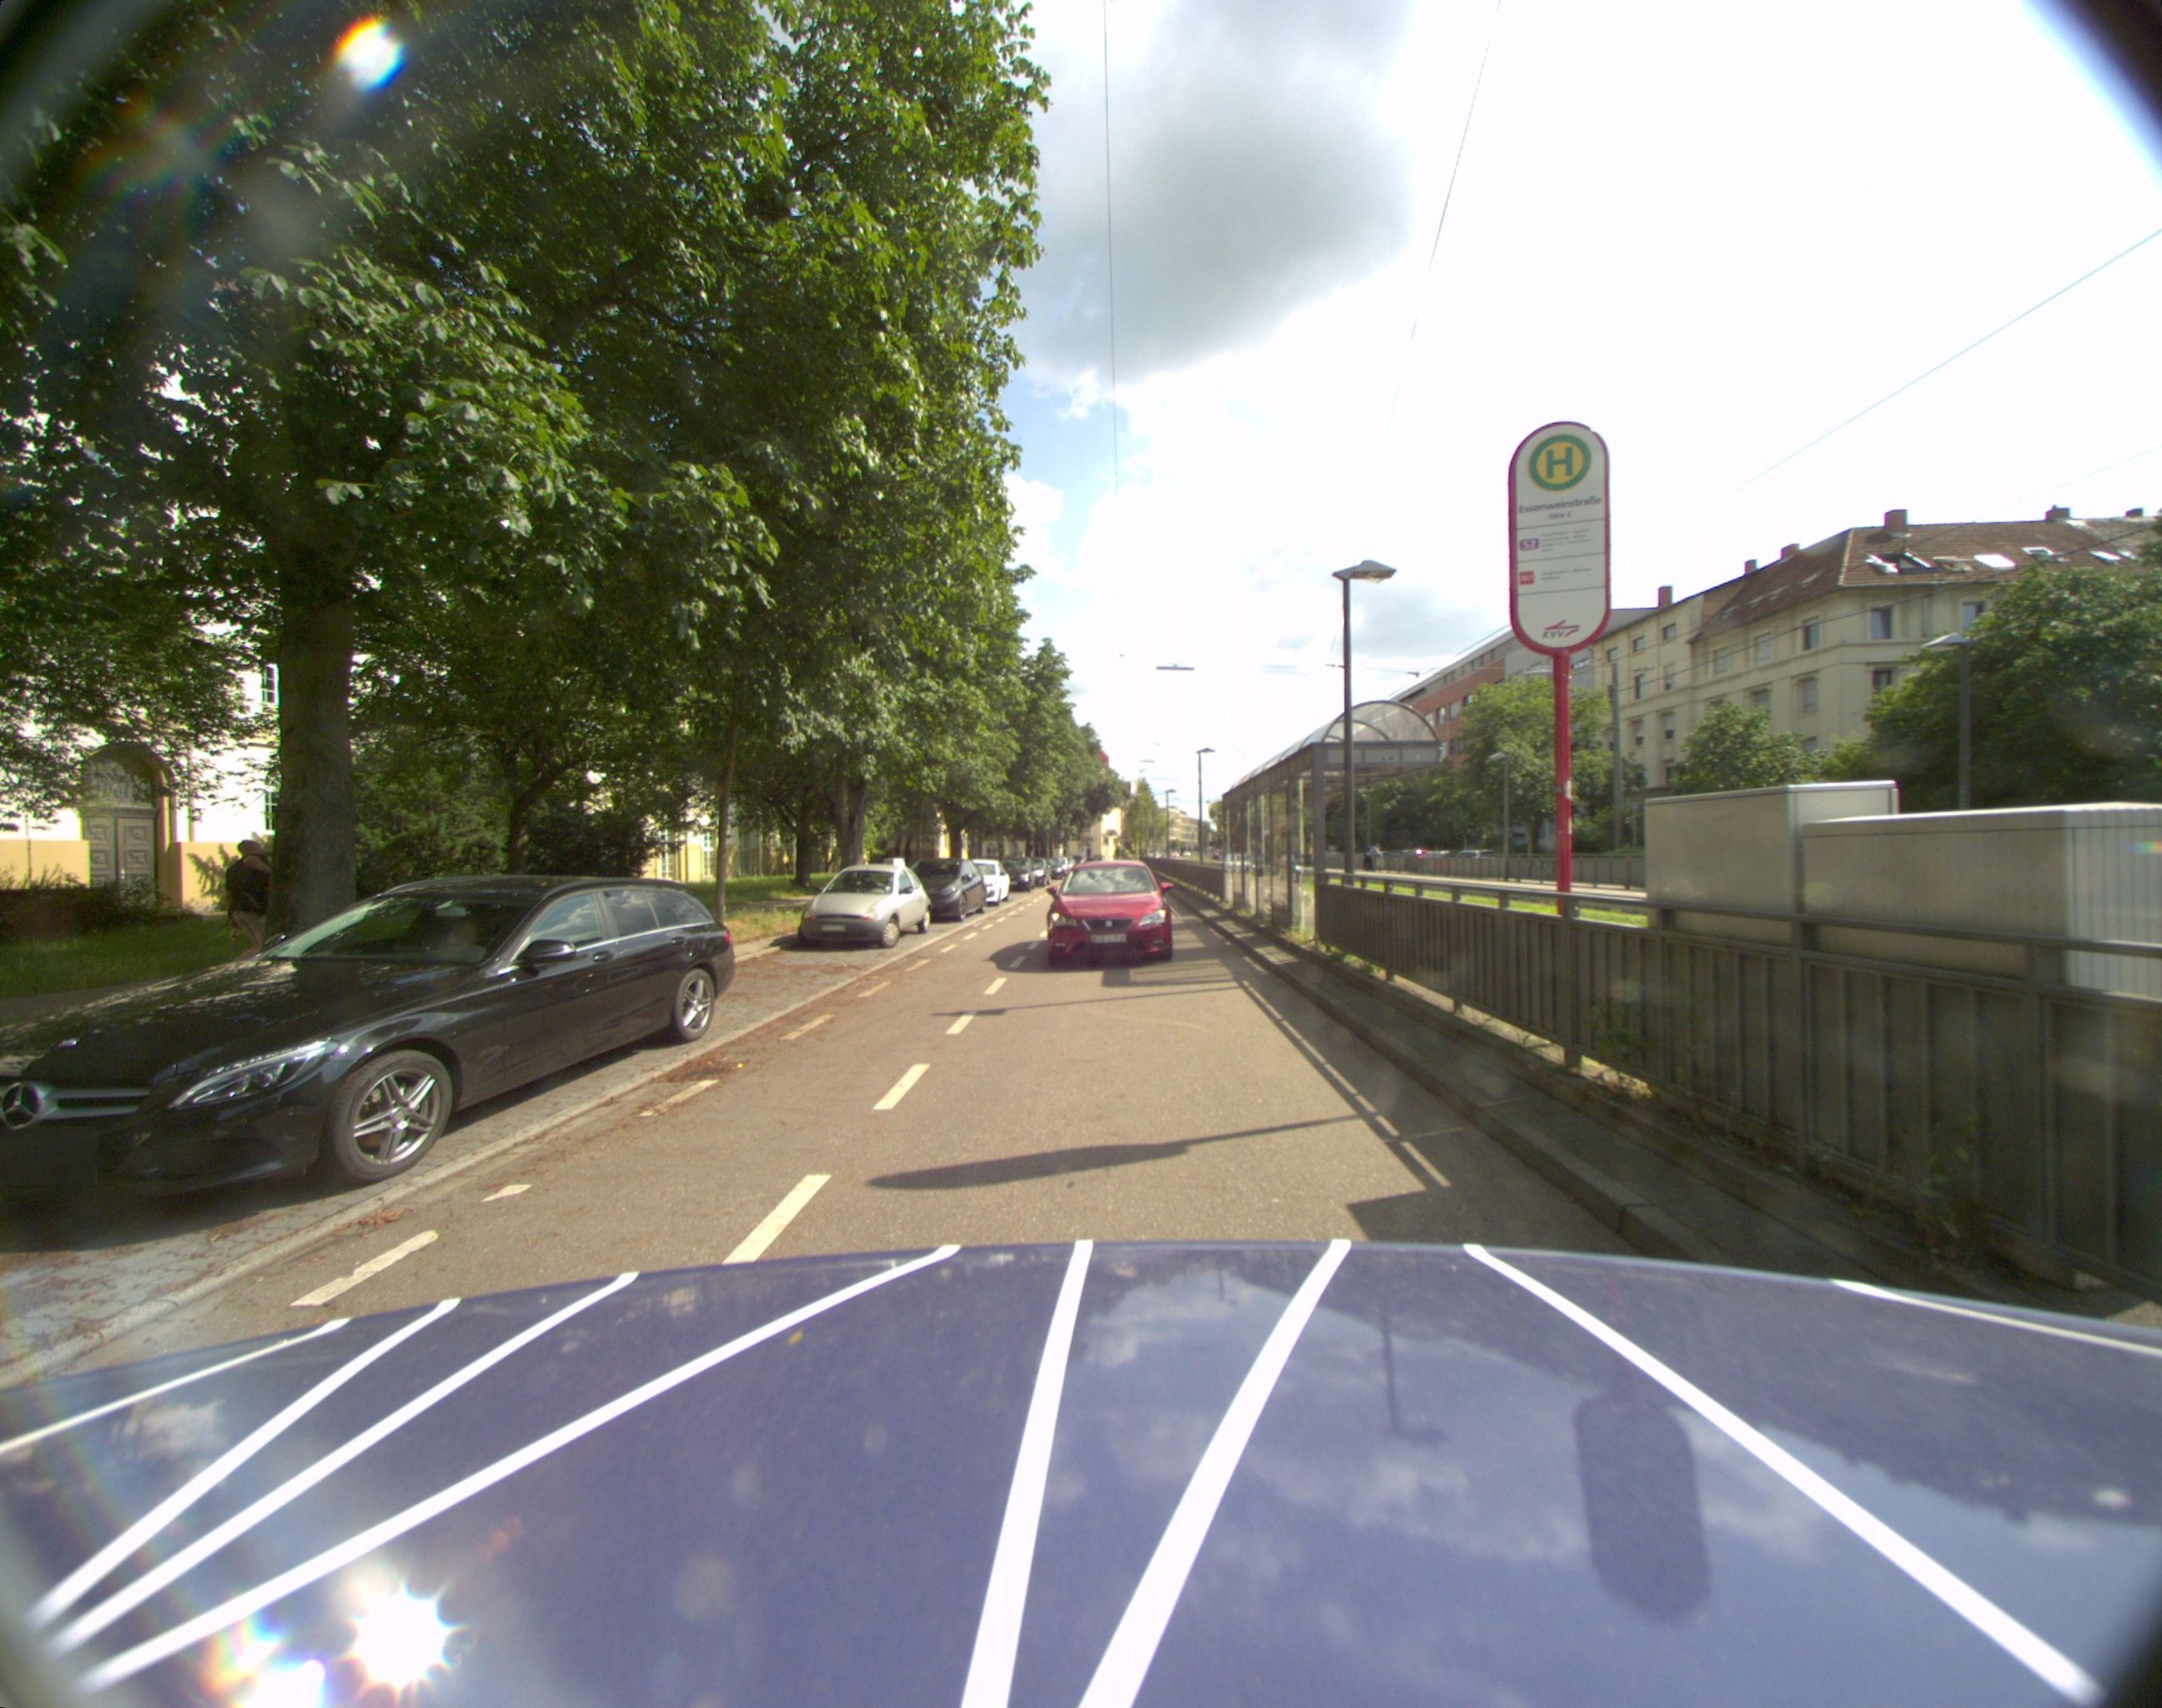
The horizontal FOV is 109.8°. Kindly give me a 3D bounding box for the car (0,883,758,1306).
[{"bbox_3d":[-4.348,1.041,5.404,1.922,1.433,4.797,1,0,2],"label":"car"}]

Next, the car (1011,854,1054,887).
[{"bbox_3d":[-2.431,0.808,39.303,1.694,1.552,4.308,2,0,3],"label":"car"}]

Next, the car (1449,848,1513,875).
[{"bbox_3d":[24.792,0.439,47.063,4.161,1.556,1.921,-1,1,-38],"label":"car"}]

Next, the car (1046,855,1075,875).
[{"bbox_3d":[-1.485,0.810,56.823,1.639,1.423,4.016,2,0,5],"label":"car"}]

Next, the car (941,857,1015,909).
[{"bbox_3d":[-3.352,0.883,25.395,1.840,1.515,4.253,1,0,0],"label":"car"}]

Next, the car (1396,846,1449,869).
[{"bbox_3d":[25.515,0.229,56.712,4.144,1.630,1.829,-1,1,-37],"label":"car"}]

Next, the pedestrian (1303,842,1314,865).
[{"bbox_3d":[16.393,-0.044,54.789,0.608,1.665,0.625,-1,2,3],"label":"pedestrian"}]

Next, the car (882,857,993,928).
[{"bbox_3d":[-3.572,0.895,19.798,1.729,1.574,4.678,0,0,3],"label":"car"}]

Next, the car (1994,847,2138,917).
[{"bbox_3d":[23.519,0.599,18.122,4.006,1.477,1.606,-1,0,-30],"label":"car"}]

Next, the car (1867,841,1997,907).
[{"bbox_3d":[23.368,0.498,20.827,4.007,1.630,1.823,-1,-1,-34],"label":"car"}]

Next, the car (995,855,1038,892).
[{"bbox_3d":[-2.836,0.843,34.120,1.559,1.453,3.558,2,1,0],"label":"car"}]

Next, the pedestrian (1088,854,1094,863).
[{"bbox_3d":[1.516,0.636,112.893,0.804,1.238,0.892,-1,2,5],"label":"pedestrian"}]

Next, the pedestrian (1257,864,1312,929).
[{"bbox_3d":[3.459,0.707,12.914,0.662,1.066,0.725,-1,0,37],"label":"pedestrian"}]

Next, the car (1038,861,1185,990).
[{"bbox_3d":[0.478,0.921,11.557,1.790,1.499,4.000,-2,0,3],"label":"car"}]

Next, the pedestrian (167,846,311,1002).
[{"bbox_3d":[-9.550,0.764,8.650,0.746,1.686,0.767,-1,1,8],"label":"pedestrian"}]

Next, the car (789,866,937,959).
[{"bbox_3d":[-3.967,0.994,14.400,1.594,1.437,3.598,1,1,3],"label":"car"}]

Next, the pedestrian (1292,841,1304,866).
[{"bbox_3d":[15.685,-0.044,54.945,0.607,1.744,0.626,0,2,43],"label":"pedestrian"}]

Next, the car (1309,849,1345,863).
[{"bbox_3d":[27.141,0.197,83.868,4.007,1.487,1.647,-1,0,-34],"label":"car"}]

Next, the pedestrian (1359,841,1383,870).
[{"bbox_3d":[15.747,0.065,41.266,0.991,1.569,0.798,-1,1,0],"label":"pedestrian"}]

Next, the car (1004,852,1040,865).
[{"bbox_3d":[-8.595,0.686,111.395,4.827,1.646,1.858,-1,2,13],"label":"car"}]

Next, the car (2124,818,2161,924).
[{"bbox_3d":[22.927,0.289,15.126,3.957,2.058,2.045,-1,0,-28],"label":"car"}]

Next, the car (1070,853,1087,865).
[{"bbox_3d":[-0.281,0.541,89.262,1.689,1.379,3.924,0,1,3],"label":"car"}]

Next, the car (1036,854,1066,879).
[{"bbox_3d":[-1.950,0.789,50.894,1.836,1.458,4.829,1,1,-1],"label":"car"}]

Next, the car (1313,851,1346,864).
[{"bbox_3d":[26.280,0.413,80.306,3.258,1.296,1.600,-1,0,-32],"label":"car"}]

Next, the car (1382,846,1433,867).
[{"bbox_3d":[25.617,0.206,59.605,4.006,1.559,1.606,-1,0,-31],"label":"car"}]

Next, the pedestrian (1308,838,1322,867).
[{"bbox_3d":[15.455,-0.085,50.260,0.752,1.881,0.639,-1,3,5],"label":"pedestrian"}]

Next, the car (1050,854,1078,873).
[{"bbox_3d":[-1.343,0.718,62.032,1.833,1.433,5.050,2,0,3],"label":"car"}]
